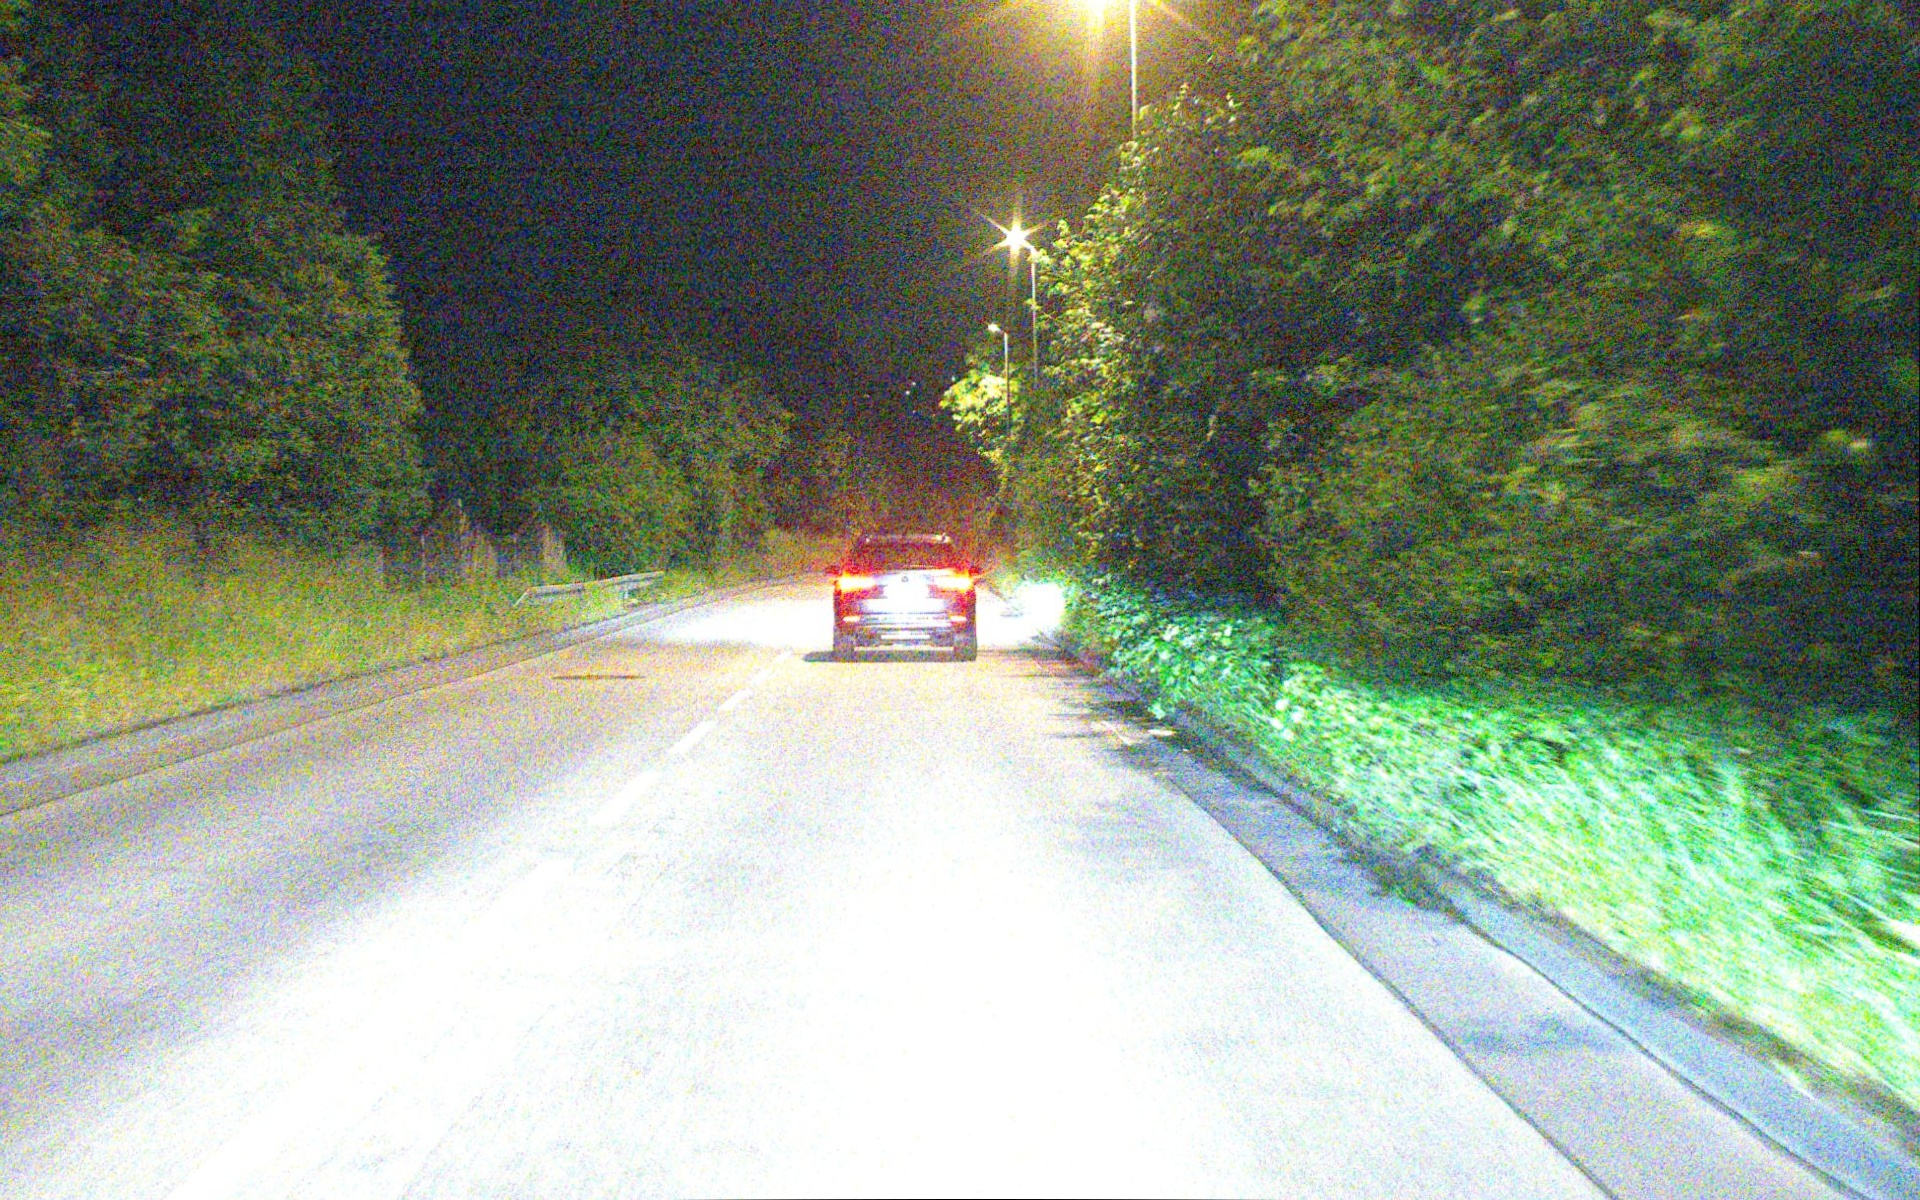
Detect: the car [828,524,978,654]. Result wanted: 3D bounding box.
[{"bbox_3d":[-0.752,-0.176,43.978,1.814,1.568,3.944,-1,1,-2],"label":"car"}]
